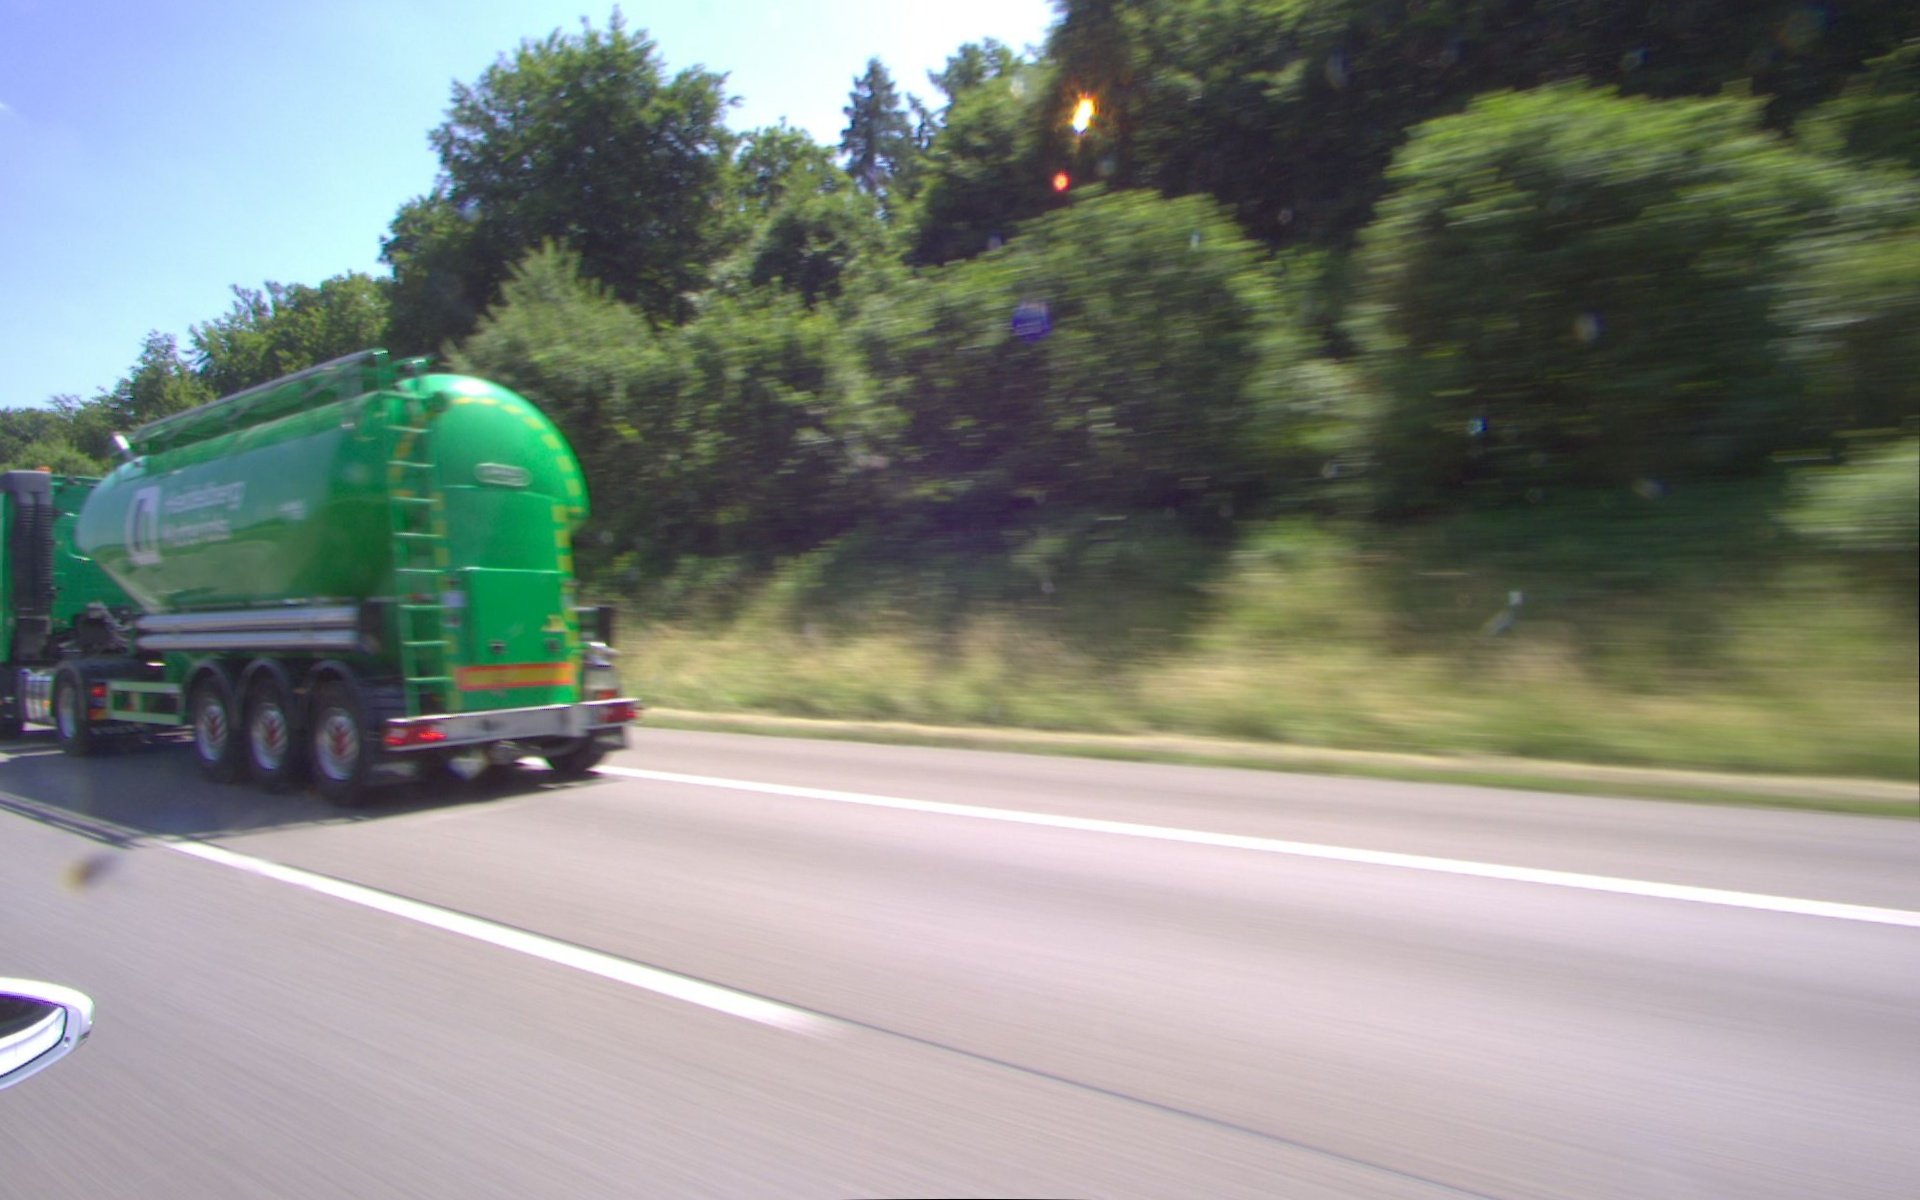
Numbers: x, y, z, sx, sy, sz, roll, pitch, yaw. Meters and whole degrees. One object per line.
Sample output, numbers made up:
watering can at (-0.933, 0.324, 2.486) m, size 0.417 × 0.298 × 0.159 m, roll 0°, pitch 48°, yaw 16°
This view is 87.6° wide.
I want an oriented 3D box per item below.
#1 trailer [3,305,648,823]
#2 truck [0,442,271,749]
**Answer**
trailer at (-8.108, -0.192, 11.872) m, size 10.326 × 4.080 × 2.581 m, roll -1°, pitch -1°, yaw 34°
truck at (-12.904, -0.001, 15.067) m, size 4.823 × 3.891 × 2.505 m, roll -1°, pitch -1°, yaw 33°
